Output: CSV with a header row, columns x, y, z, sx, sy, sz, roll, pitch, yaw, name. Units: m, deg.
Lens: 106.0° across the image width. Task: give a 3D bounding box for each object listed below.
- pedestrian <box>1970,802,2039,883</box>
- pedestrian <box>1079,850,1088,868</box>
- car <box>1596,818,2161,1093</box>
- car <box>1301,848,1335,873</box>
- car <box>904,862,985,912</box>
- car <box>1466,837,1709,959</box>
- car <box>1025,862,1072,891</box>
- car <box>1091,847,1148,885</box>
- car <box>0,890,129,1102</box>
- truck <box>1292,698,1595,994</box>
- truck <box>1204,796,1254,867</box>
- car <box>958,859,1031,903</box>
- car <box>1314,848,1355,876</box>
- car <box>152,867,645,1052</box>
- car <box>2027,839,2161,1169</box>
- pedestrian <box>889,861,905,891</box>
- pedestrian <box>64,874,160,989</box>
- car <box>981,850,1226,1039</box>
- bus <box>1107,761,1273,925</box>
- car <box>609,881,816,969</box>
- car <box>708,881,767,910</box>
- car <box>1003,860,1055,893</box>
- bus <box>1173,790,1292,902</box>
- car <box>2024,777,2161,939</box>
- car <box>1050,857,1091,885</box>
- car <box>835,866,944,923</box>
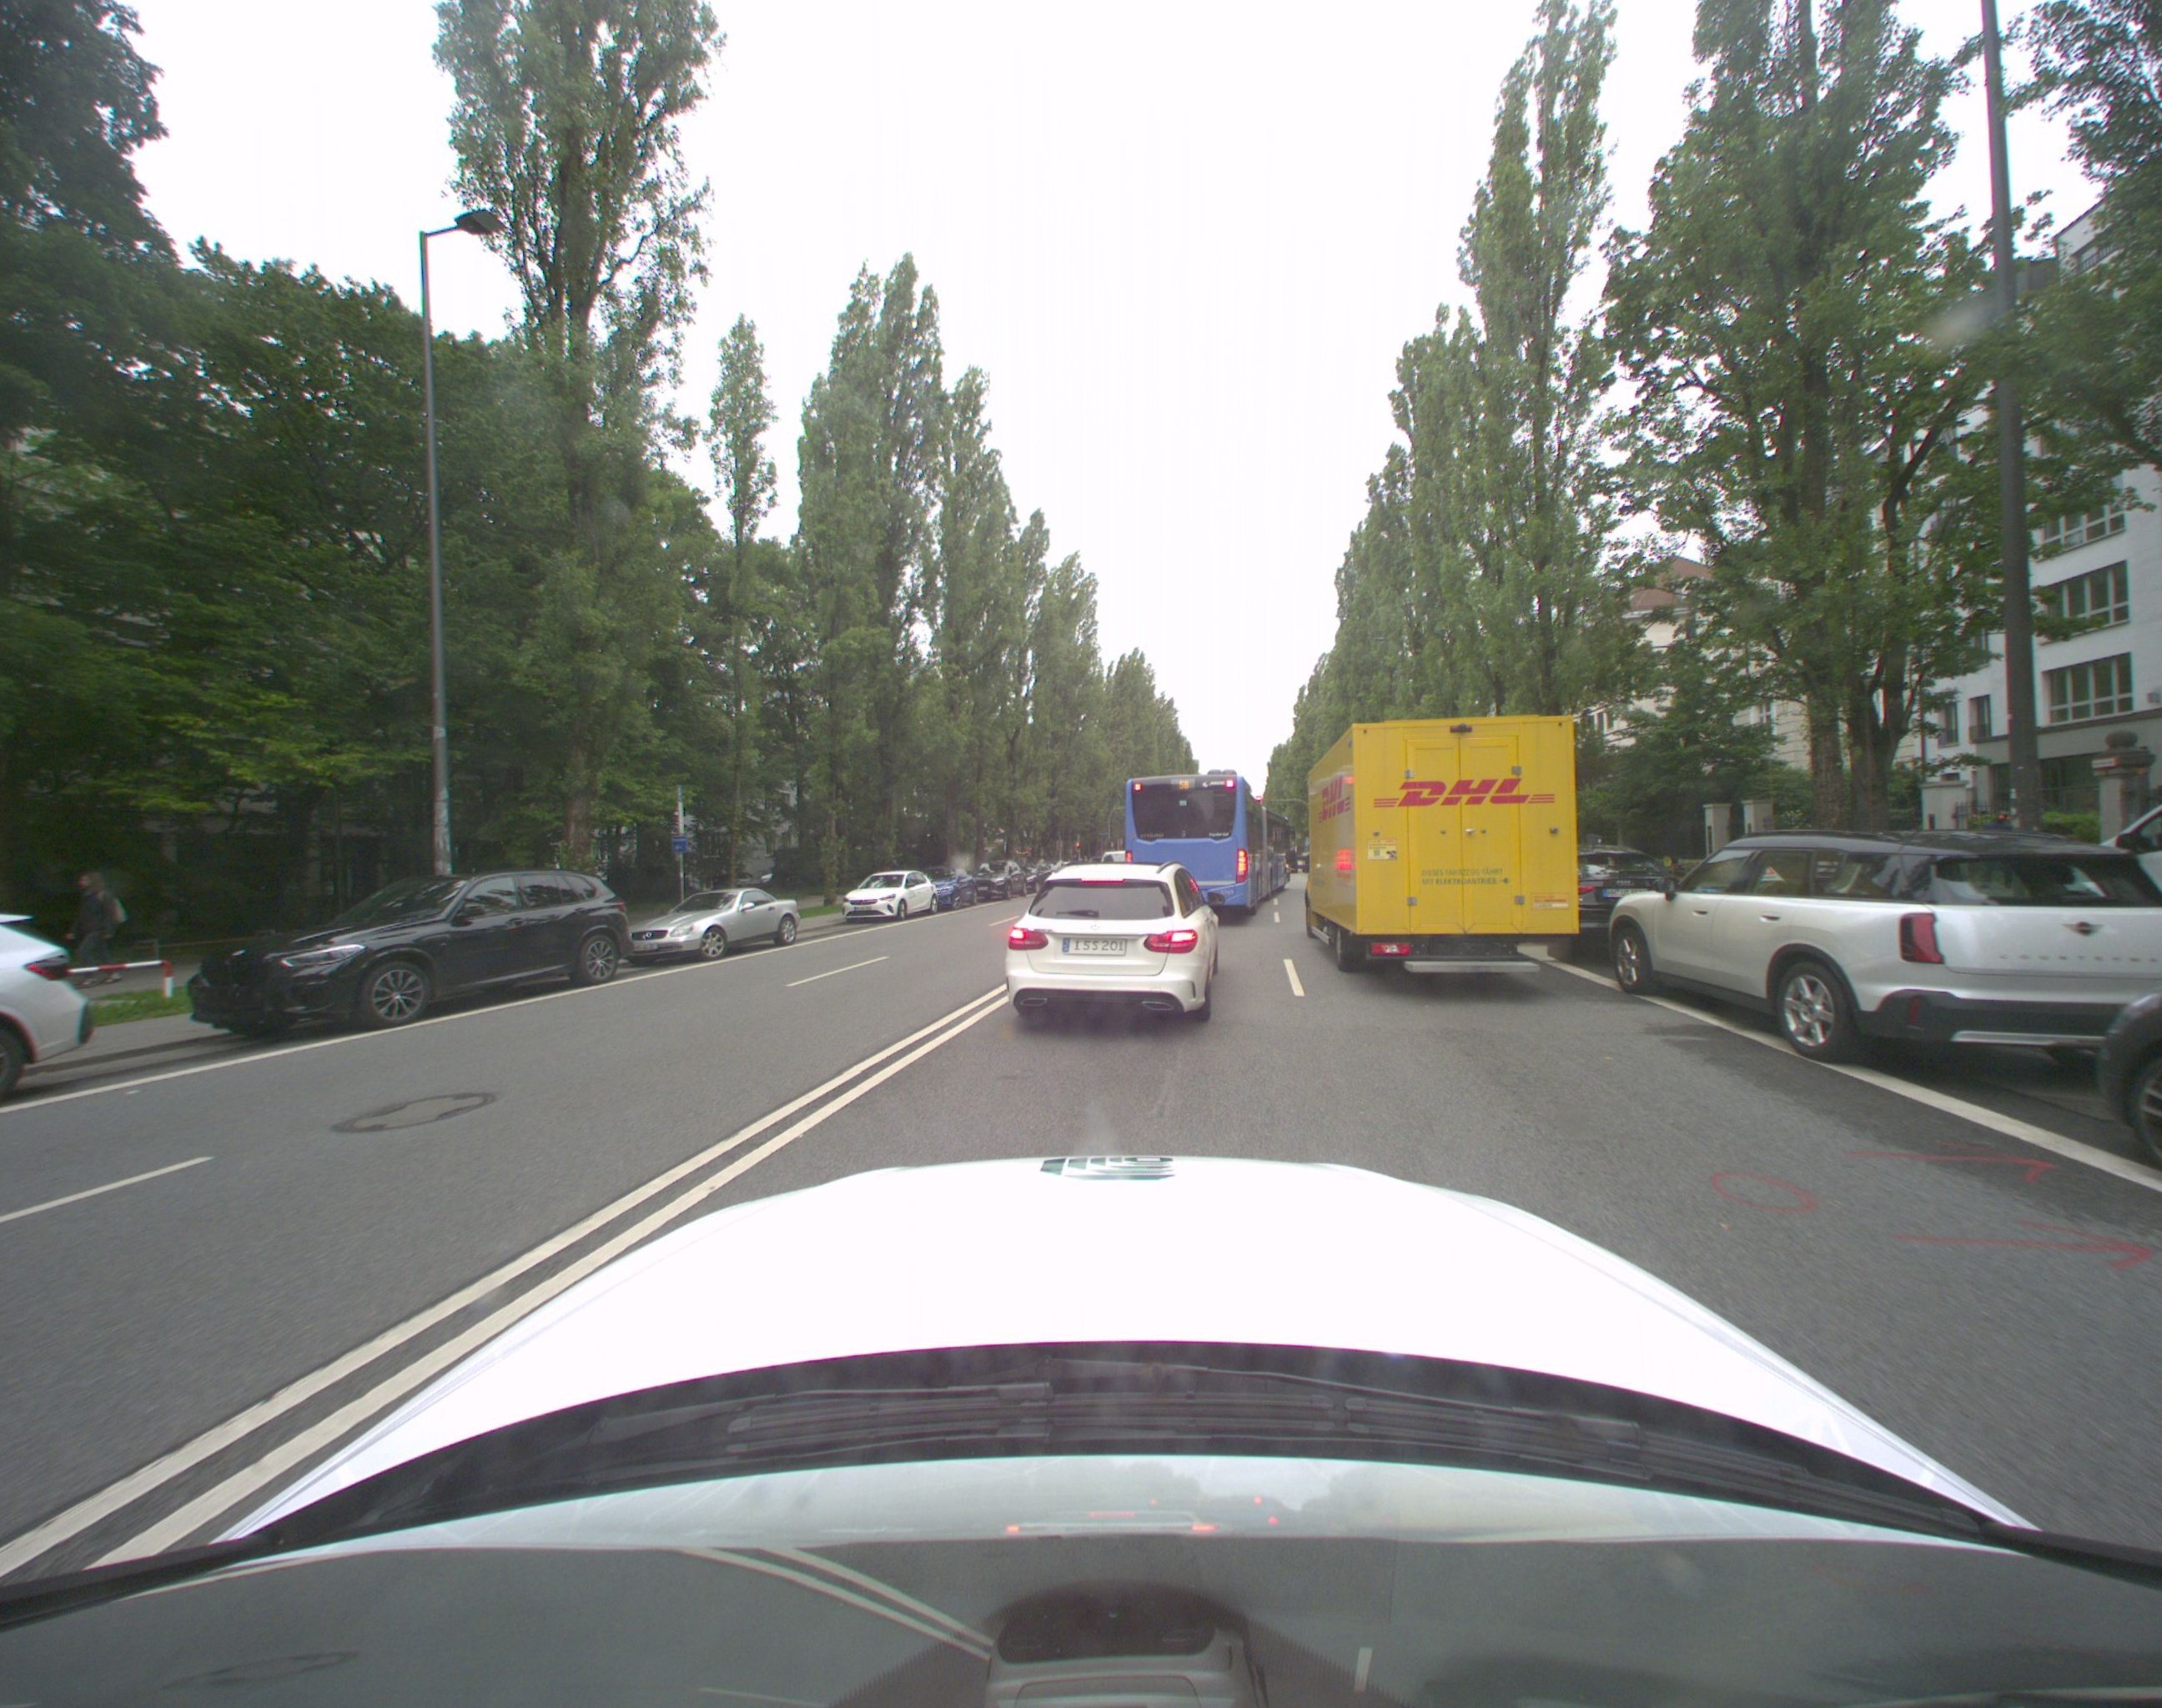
x,y,z,sx,sy,sz,roll,pitch,yaw,name
21.963,-0.258,19.387,0.927,1.866,0.778,-3,0,40,pedestrian
0.333,0.601,93.384,0.825,2.013,0.780,-2,0,9,pedestrian
6.171,0.574,6.809,1.769,1.581,4.159,0,0,11,car
16.661,0.433,57.440,1.798,1.618,4.011,-2,0,10,car
-4.798,1.121,29.169,1.734,1.519,4.125,-4,-1,6,car
7.303,0.551,12.294,1.714,1.495,4.338,-2,0,12,car
-1.750,1.230,44.901,1.665,1.413,4.012,-3,0,10,car
2.260,0.647,45.959,2.168,1.891,5.715,-4,-1,12,car
-9.498,1.188,4.927,1.773,1.588,4.476,-4,0,12,car
4.534,-0.063,11.790,2.313,2.898,7.355,-2,0,11,truck
9.228,-1.299,51.282,2.700,3.965,9.242,-2,0,9,truck
-3.565,1.079,34.374,1.780,1.548,4.351,-5,-1,10,car
14.675,0.427,47.294,1.787,1.475,4.012,-2,0,10,car
-8.247,1.129,10.628,1.868,1.658,4.731,-5,0,10,car
5.260,0.666,1.994,1.623,1.446,4.161,0,0,11,car
-10.829,1.306,47.908,0.595,1.739,0.642,-2,0,11,pedestrian
-15.961,1.252,13.426,0.636,1.815,0.778,-2,0,11,pedestrian
0.554,0.710,8.720,1.814,1.454,4.597,-1,0,12,car
3.186,-0.234,20.755,2.834,3.213,9.098,-2,0,16,bus
-7.100,1.306,16.207,1.570,1.304,4.042,-4,0,12,car
-23.693,2.815,56.328,1.985,1.684,4.271,-3,0,4,car
-2.540,1.086,40.606,1.530,1.433,3.880,-5,-1,10,car
5.749,-0.255,29.212,2.849,3.304,9.835,-2,0,18,bus
13.609,0.023,8.512,1.981,1.925,5.340,-2,0,10,car
-0.586,0.994,49.289,1.697,1.548,4.012,-3,0,10,car
-5.703,1.170,24.757,1.674,1.413,4.016,-4,-1,10,car
